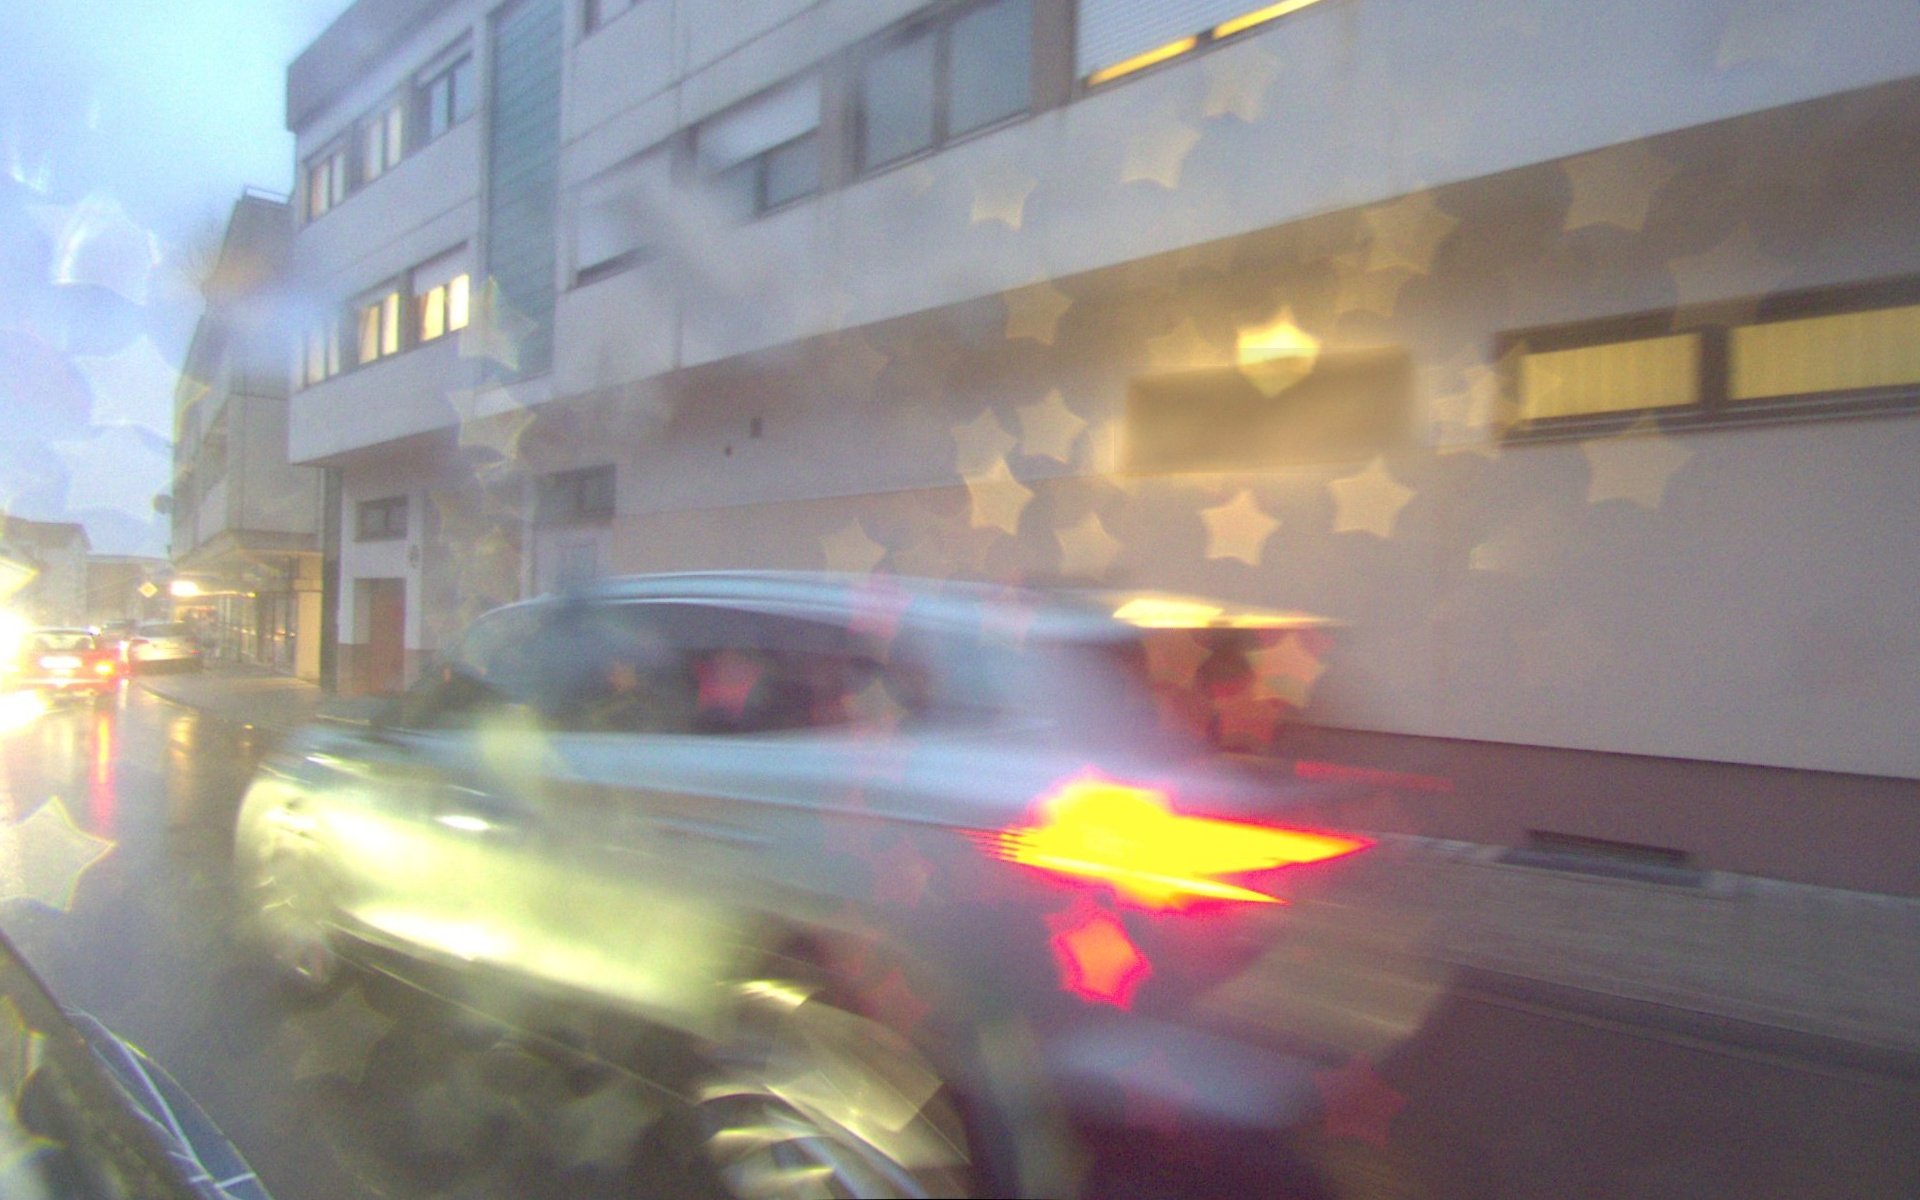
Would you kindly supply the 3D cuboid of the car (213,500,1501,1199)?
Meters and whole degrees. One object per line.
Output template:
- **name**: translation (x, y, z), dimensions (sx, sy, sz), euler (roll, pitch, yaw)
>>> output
- **car**: translation (-0.715, 0.712, 3.531), dimensions (4.390, 1.608, 1.794), euler (-1, -2, 36)

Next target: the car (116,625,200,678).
- **car**: translation (-24.192, 1.506, 30.478), dimensions (1.655, 1.457, 4.433), euler (3, -3, -42)

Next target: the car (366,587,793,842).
- **car**: translation (-3.321, 0.778, 8.497), dimensions (3.810, 1.655, 1.775), euler (-1, -1, 41)

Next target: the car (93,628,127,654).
- **car**: translation (-57.615, 2.773, 68.659), dimensions (1.699, 1.626, 3.822), euler (-1, -1, -40)

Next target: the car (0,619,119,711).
- **car**: translation (-16.964, 1.136, 18.855), dimensions (3.407, 1.547, 1.619), euler (-1, -2, 44)

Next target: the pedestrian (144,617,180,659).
- **pedestrian**: translation (-37.714, 1.777, 47.826), dimensions (1.182, 1.953, 0.979), euler (2, -3, -33)

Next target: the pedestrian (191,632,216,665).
- **pedestrian**: translation (-31.085, 1.977, 41.578), dimensions (0.746, 1.320, 0.829), euler (0, -1, -43)

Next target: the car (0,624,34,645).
- **car**: translation (-70.577, 2.560, 75.626), dimensions (1.771, 1.522, 4.007), euler (4, -4, -39)
